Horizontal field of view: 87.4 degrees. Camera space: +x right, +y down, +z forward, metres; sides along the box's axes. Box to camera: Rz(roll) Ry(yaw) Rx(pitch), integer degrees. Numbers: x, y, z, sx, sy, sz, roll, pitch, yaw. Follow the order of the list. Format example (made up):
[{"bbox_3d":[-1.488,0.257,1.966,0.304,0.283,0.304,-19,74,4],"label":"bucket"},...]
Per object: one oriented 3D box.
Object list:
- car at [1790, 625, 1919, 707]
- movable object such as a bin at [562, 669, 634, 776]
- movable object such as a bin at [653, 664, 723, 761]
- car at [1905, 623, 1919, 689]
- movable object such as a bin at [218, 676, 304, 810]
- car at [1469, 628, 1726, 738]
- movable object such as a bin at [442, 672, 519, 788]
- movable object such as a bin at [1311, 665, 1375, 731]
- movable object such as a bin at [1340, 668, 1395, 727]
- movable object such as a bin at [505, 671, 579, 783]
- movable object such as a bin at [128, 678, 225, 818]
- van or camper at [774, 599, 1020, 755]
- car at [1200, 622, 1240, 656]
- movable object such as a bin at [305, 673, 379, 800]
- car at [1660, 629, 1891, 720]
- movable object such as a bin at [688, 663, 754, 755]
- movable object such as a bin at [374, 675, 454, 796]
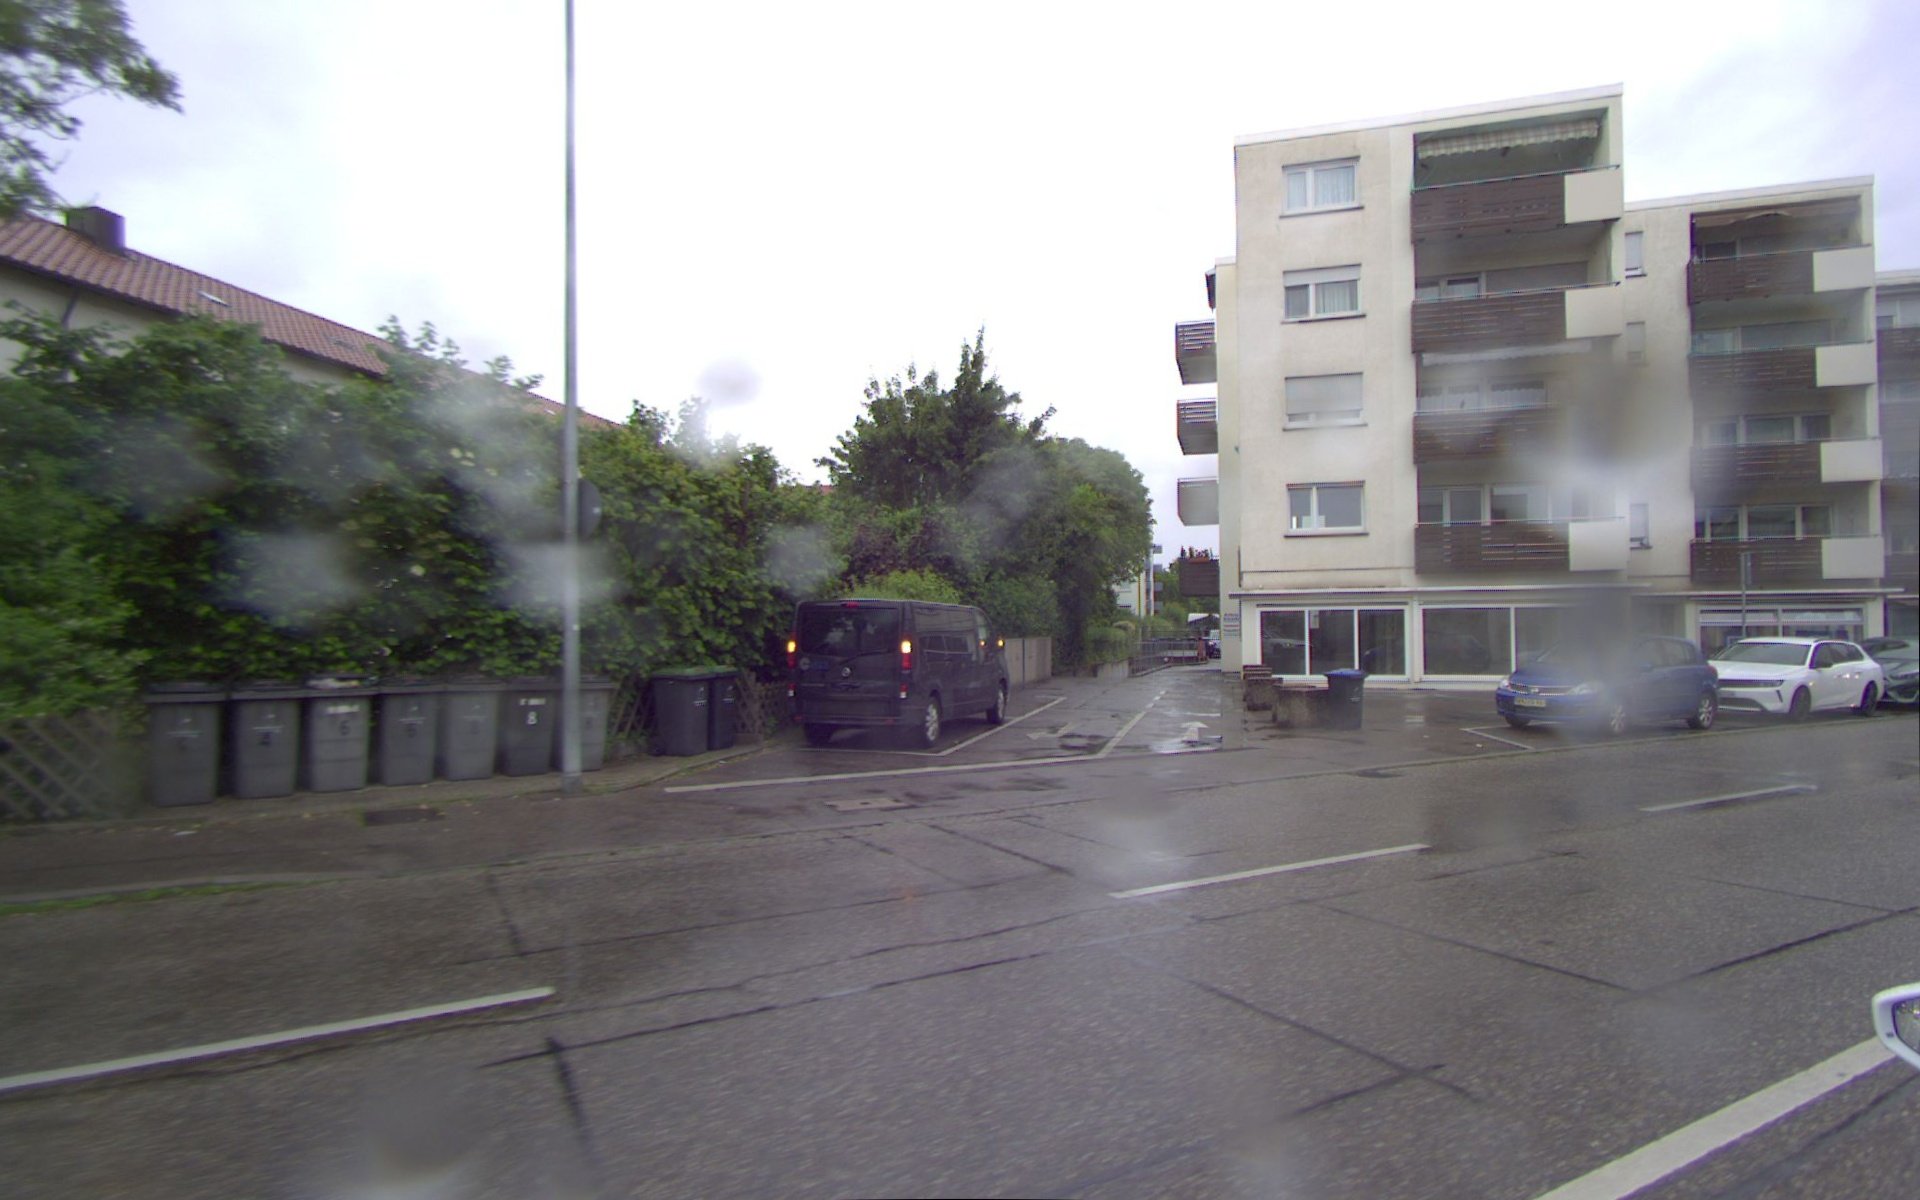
[{"bbox_3d":[19.877,1.318,21.334,4.464,1.562,1.927,0,-1,-28],"label":"car"},{"bbox_3d":[-4.080,1.356,11.312,0.597,1.133,0.594,1,-2,-41],"label":"movable object such as a bin"},{"bbox_3d":[-3.355,1.372,12.398,0.590,1.133,0.601,-1,-2,26],"label":"movable object such as a bin"},{"bbox_3d":[24.853,1.325,24.085,4.219,1.562,1.927,0,-1,-28],"label":"car"},{"bbox_3d":[-6.398,1.282,9.220,0.594,1.133,0.596,0,-1,-31],"label":"movable object such as a bin"},{"bbox_3d":[10.363,1.249,16.266,4.270,1.541,1.645,0,-1,-29],"label":"car"},{"bbox_3d":[-5.018,1.334,10.509,0.597,1.133,0.594,1,-2,-41],"label":"movable object such as a bin"},{"bbox_3d":[6.036,1.536,15.835,0.674,0.978,0.645,0,-2,-28],"label":"movable object such as a bin"},{"bbox_3d":[6.654,1.580,16.407,0.590,0.914,0.572,0,-2,-28],"label":"movable object such as a bin"},{"bbox_3d":[-4.539,1.351,10.906,0.597,1.133,0.594,1,-2,-41],"label":"movable object such as a bin"},{"bbox_3d":[-6.926,1.282,8.904,0.594,1.133,0.596,1,-2,-31],"label":"movable object such as a bin"},{"bbox_3d":[-0.690,1.010,15.345,1.960,1.950,5.219,-2,-1,17],"label":"van or camper"},{"bbox_3d":[16.213,2.419,62.800,1.959,2.040,4.003,0,-1,7],"label":"car"},{"bbox_3d":[-5.964,1.293,9.722,0.594,1.133,0.596,0,-1,-31],"label":"movable object such as a bin"},{"bbox_3d":[15.311,1.309,18.813,4.625,1.483,1.687,0,-1,-28],"label":"car"},{"bbox_3d":[-3.081,1.390,12.979,0.590,1.133,0.601,-1,-2,26],"label":"movable object such as a bin"},{"bbox_3d":[-5.492,1.338,10.107,0.597,1.133,0.594,1,-2,-41],"label":"movable object such as a bin"}]
